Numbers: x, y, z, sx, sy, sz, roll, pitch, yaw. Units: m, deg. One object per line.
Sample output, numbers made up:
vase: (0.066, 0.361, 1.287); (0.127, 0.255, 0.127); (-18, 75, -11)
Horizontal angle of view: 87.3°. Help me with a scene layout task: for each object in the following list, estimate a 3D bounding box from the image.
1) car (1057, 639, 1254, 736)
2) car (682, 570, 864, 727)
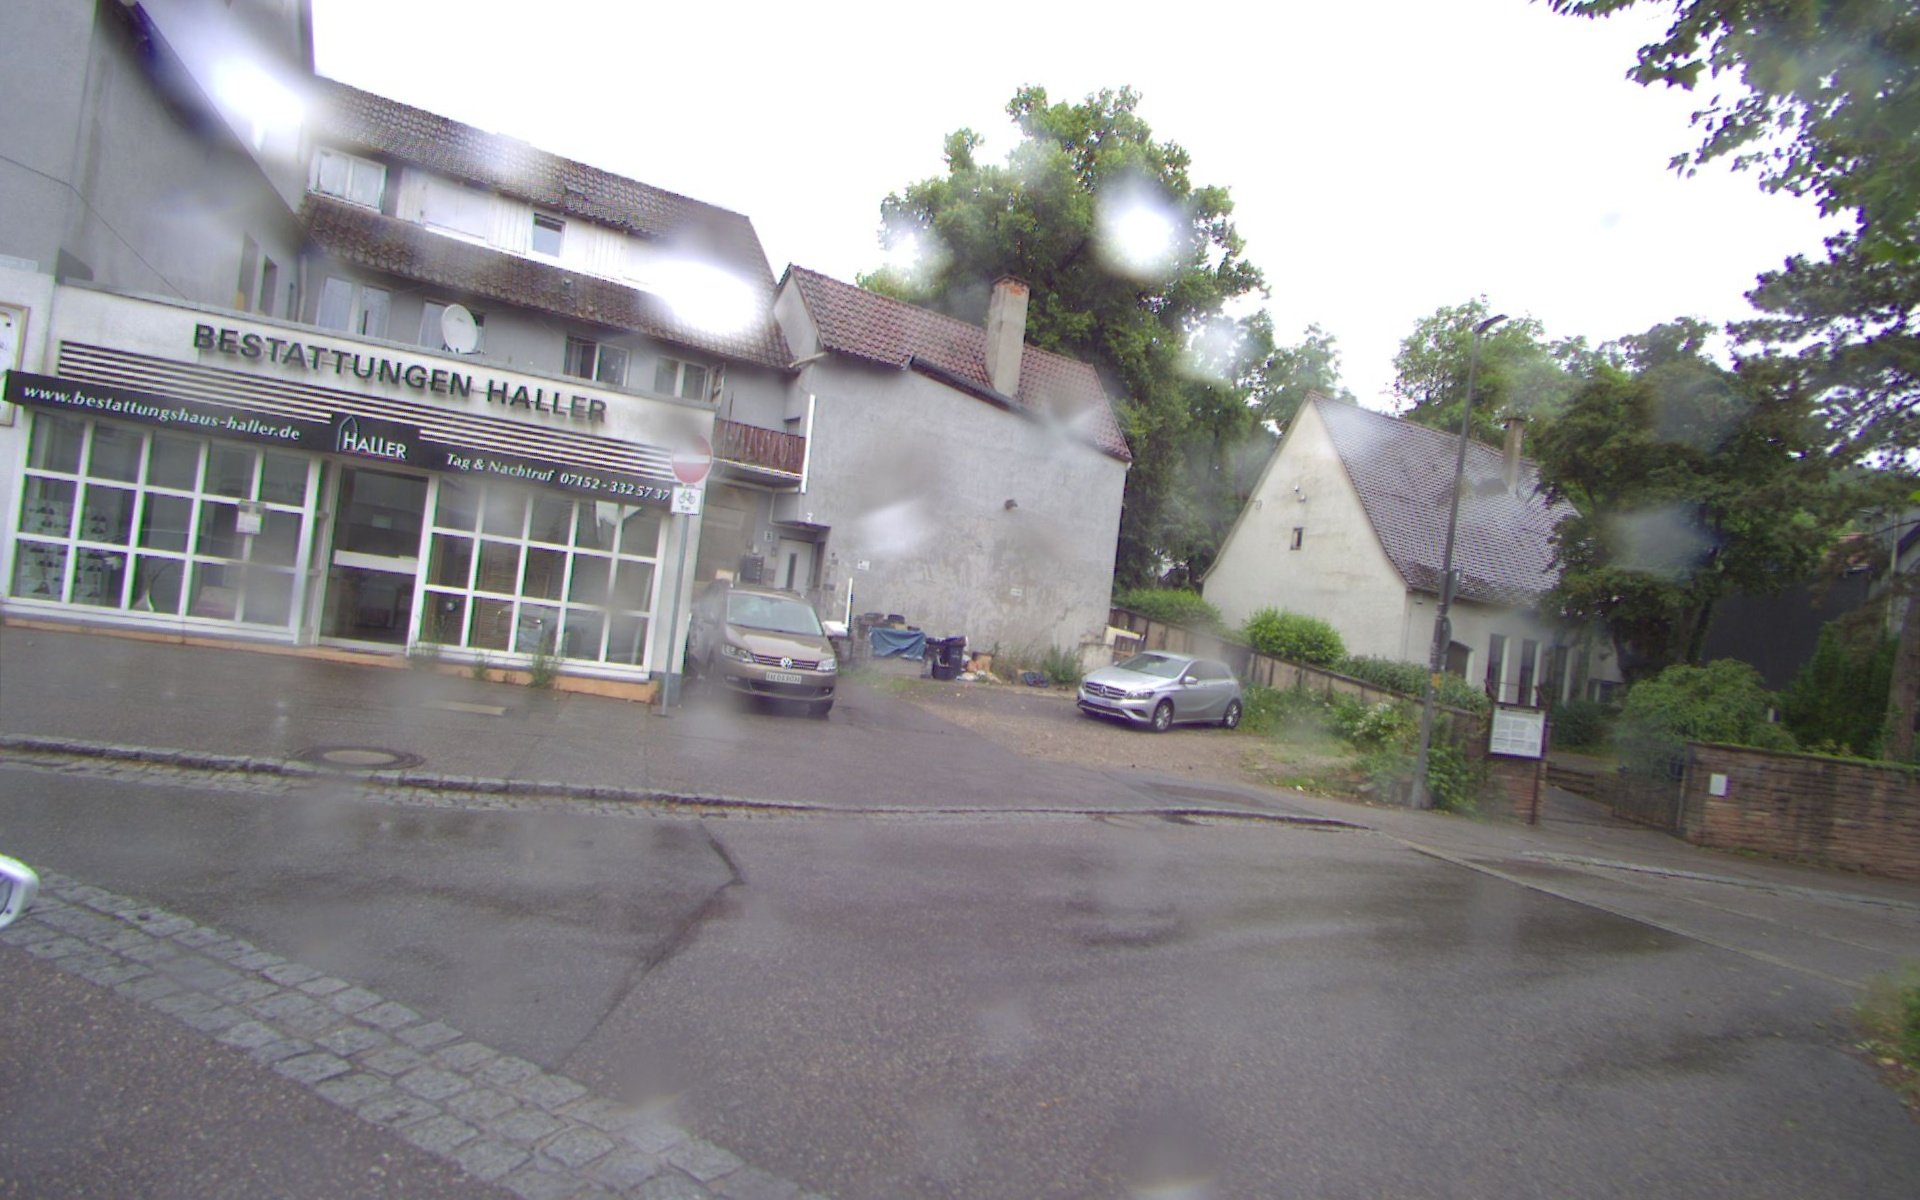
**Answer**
car: (3.955, 1.743, 19.952); (1.809, 1.493, 3.977); (10, 2, 44)
car: (-2.997, 0.620, 15.372); (1.972, 1.793, 3.981); (8, 0, -19)
